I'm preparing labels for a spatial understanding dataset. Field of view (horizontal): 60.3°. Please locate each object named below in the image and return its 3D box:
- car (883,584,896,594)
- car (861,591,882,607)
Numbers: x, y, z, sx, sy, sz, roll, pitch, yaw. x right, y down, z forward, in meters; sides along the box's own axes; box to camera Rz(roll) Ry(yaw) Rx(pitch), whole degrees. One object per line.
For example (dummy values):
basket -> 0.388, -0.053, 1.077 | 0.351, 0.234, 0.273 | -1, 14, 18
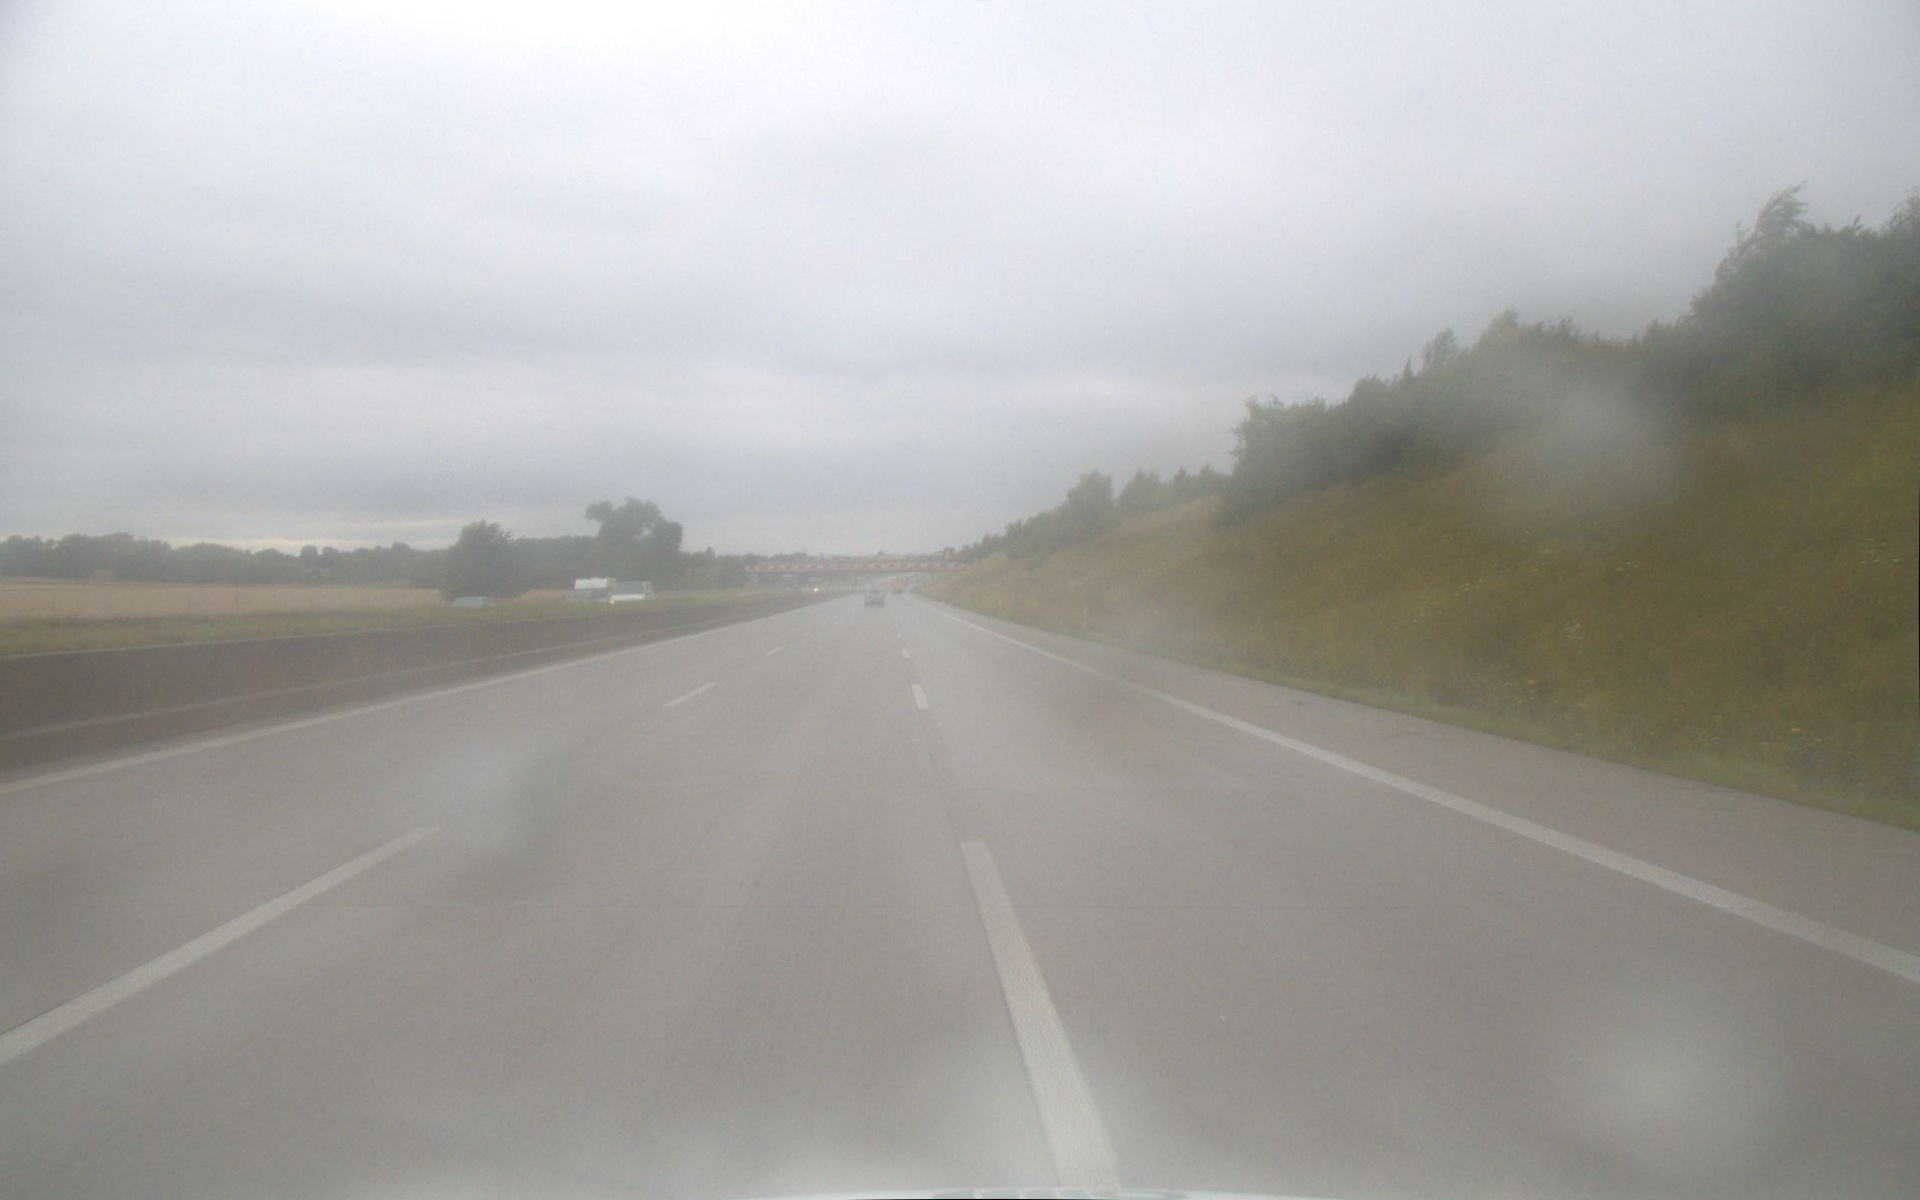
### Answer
car -> -9.851, -1.514, 231.186 | 1.695, 1.354, 4.427 | 0, 1, -4
car -> -8.024, -0.112, 149.253 | 1.811, 1.354, 4.427 | 0, 1, -4
